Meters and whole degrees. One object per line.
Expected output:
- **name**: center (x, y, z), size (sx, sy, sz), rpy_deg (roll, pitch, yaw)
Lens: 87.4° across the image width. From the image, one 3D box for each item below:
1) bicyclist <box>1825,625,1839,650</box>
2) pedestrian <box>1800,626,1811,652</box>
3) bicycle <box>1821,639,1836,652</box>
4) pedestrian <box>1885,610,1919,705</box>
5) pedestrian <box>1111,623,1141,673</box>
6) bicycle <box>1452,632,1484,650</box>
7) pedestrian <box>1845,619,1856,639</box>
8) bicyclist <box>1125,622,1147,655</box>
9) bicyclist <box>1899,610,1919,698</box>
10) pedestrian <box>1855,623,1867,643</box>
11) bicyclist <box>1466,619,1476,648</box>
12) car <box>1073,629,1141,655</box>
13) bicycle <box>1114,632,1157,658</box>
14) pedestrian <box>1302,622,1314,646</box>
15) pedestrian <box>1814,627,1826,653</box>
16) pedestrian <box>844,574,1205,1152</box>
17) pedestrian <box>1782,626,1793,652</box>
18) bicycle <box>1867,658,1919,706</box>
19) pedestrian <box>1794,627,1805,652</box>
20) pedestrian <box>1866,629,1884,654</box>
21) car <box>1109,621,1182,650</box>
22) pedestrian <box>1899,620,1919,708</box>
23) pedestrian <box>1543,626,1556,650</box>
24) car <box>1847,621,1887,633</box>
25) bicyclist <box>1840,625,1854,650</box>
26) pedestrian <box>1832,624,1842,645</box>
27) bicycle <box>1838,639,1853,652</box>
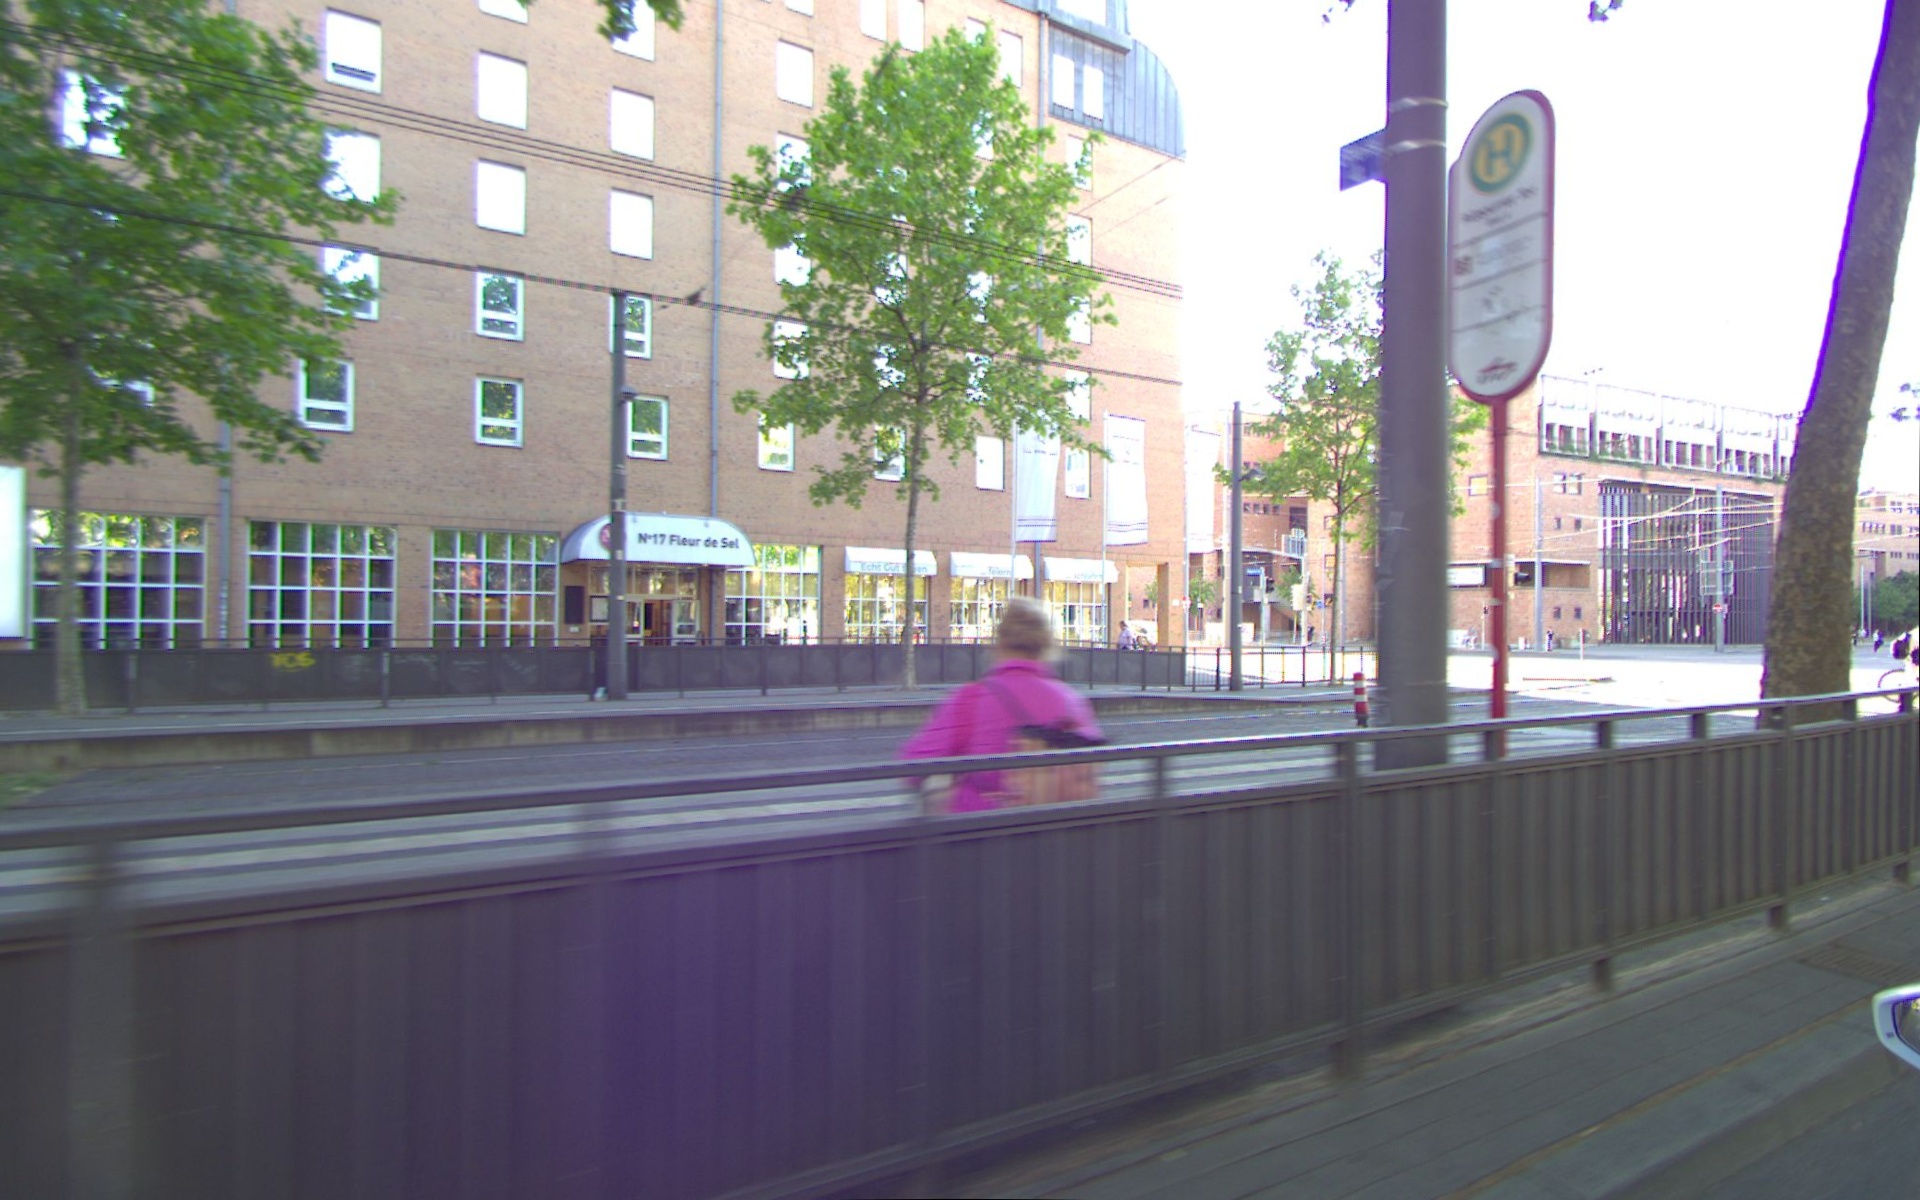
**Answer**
- **bicyclist**: center (60.632, 2.584, 69.821), size (0.783, 1.697, 0.588), rpy_deg (1, -2, -39)
- **pedestrian**: center (55.121, 2.564, 65.510), size (0.530, 1.672, 0.623), rpy_deg (-1, -2, 39)
- **bicycle**: center (60.456, 3.149, 69.888), size (1.824, 0.893, 0.508), rpy_deg (2, -2, -41)
- **pedestrian**: center (19.419, 1.154, 20.217), size (0.732, 1.896, 1.065), rpy_deg (2, 0, -39)
- **pedestrian**: center (5.458, 1.583, 33.088), size (0.718, 1.606, 0.586), rpy_deg (1, 1, -33)
- **bicycle**: center (36.750, 2.954, 72.663), size (2.054, 1.255, 0.453), rpy_deg (0, -1, 8)
- **pedestrian**: center (79.740, 2.583, 89.944), size (0.538, 1.803, 0.520), rpy_deg (1, -1, -25)
- **bicyclist**: center (9.230, 2.001, 52.674), size (0.684, 1.703, 0.898), rpy_deg (1, -1, -34)
- **bicyclist**: center (20.182, 1.117, 20.863), size (0.745, 1.808, 0.844), rpy_deg (1, -2, -34)
- **pedestrian**: center (81.057, 2.986, 90.397), size (0.538, 1.834, 0.639), rpy_deg (1, -1, -25)
- **bicyclist**: center (36.938, 2.438, 72.646), size (0.551, 2.087, 0.451), rpy_deg (0, -1, 8)
- **car**: center (8.935, 2.548, 61.370), size (1.980, 1.475, 3.928), rpy_deg (1, -2, -35)
- **bicycle**: center (9.208, 2.344, 52.709), size (1.061, 1.243, 2.144), rpy_deg (0, -1, -33)
- **pedestrian**: center (24.583, 2.407, 70.883), size (0.608, 1.635, 0.539), rpy_deg (-1, 2, -37)
- **pedestrian**: center (55.688, 2.584, 65.024), size (0.530, 1.672, 0.623), rpy_deg (-1, -2, 39)
- **pedestrian**: center (0.146, 0.649, 3.047), size (0.656, 1.418, 0.973), rpy_deg (2, 0, -27)
- **pedestrian**: center (54.108, 2.539, 65.690), size (0.530, 1.672, 0.623), rpy_deg (-1, -2, 39)
- **bicycle**: center (20.255, 1.717, 20.742), size (0.661, 0.946, 2.164), rpy_deg (1, -1, -34)
- **pedestrian**: center (55.599, 2.625, 66.505), size (0.530, 1.672, 0.623), rpy_deg (-1, -2, 39)
- **pedestrian**: center (59.180, 2.682, 64.976), size (0.504, 1.550, 0.748), rpy_deg (1, 0, -39)
- **car**: center (11.670, 2.227, 63.374), size (1.983, 1.719, 4.312), rpy_deg (1, -2, -39)
- **pedestrian**: center (19.029, 1.254, 19.495), size (0.751, 1.704, 1.064), rpy_deg (2, 0, -39)
- **pedestrian**: center (40.675, 2.624, 69.275), size (0.560, 1.635, 0.545), rpy_deg (0, -1, -1)
- **car**: center (130.102, 3.827, 144.149), size (3.926, 1.572, 1.605), rpy_deg (2, 0, 27)
- **bicyclist**: center (61.238, 2.600, 69.311), size (0.783, 1.697, 0.588), rpy_deg (1, -2, -39)
- **pedestrian**: center (79.259, 3.107, 90.799), size (0.538, 1.834, 0.488), rpy_deg (1, -1, -25)
- **bicycle**: center (61.132, 3.119, 69.361), size (1.824, 0.893, 0.508), rpy_deg (2, -2, -41)
